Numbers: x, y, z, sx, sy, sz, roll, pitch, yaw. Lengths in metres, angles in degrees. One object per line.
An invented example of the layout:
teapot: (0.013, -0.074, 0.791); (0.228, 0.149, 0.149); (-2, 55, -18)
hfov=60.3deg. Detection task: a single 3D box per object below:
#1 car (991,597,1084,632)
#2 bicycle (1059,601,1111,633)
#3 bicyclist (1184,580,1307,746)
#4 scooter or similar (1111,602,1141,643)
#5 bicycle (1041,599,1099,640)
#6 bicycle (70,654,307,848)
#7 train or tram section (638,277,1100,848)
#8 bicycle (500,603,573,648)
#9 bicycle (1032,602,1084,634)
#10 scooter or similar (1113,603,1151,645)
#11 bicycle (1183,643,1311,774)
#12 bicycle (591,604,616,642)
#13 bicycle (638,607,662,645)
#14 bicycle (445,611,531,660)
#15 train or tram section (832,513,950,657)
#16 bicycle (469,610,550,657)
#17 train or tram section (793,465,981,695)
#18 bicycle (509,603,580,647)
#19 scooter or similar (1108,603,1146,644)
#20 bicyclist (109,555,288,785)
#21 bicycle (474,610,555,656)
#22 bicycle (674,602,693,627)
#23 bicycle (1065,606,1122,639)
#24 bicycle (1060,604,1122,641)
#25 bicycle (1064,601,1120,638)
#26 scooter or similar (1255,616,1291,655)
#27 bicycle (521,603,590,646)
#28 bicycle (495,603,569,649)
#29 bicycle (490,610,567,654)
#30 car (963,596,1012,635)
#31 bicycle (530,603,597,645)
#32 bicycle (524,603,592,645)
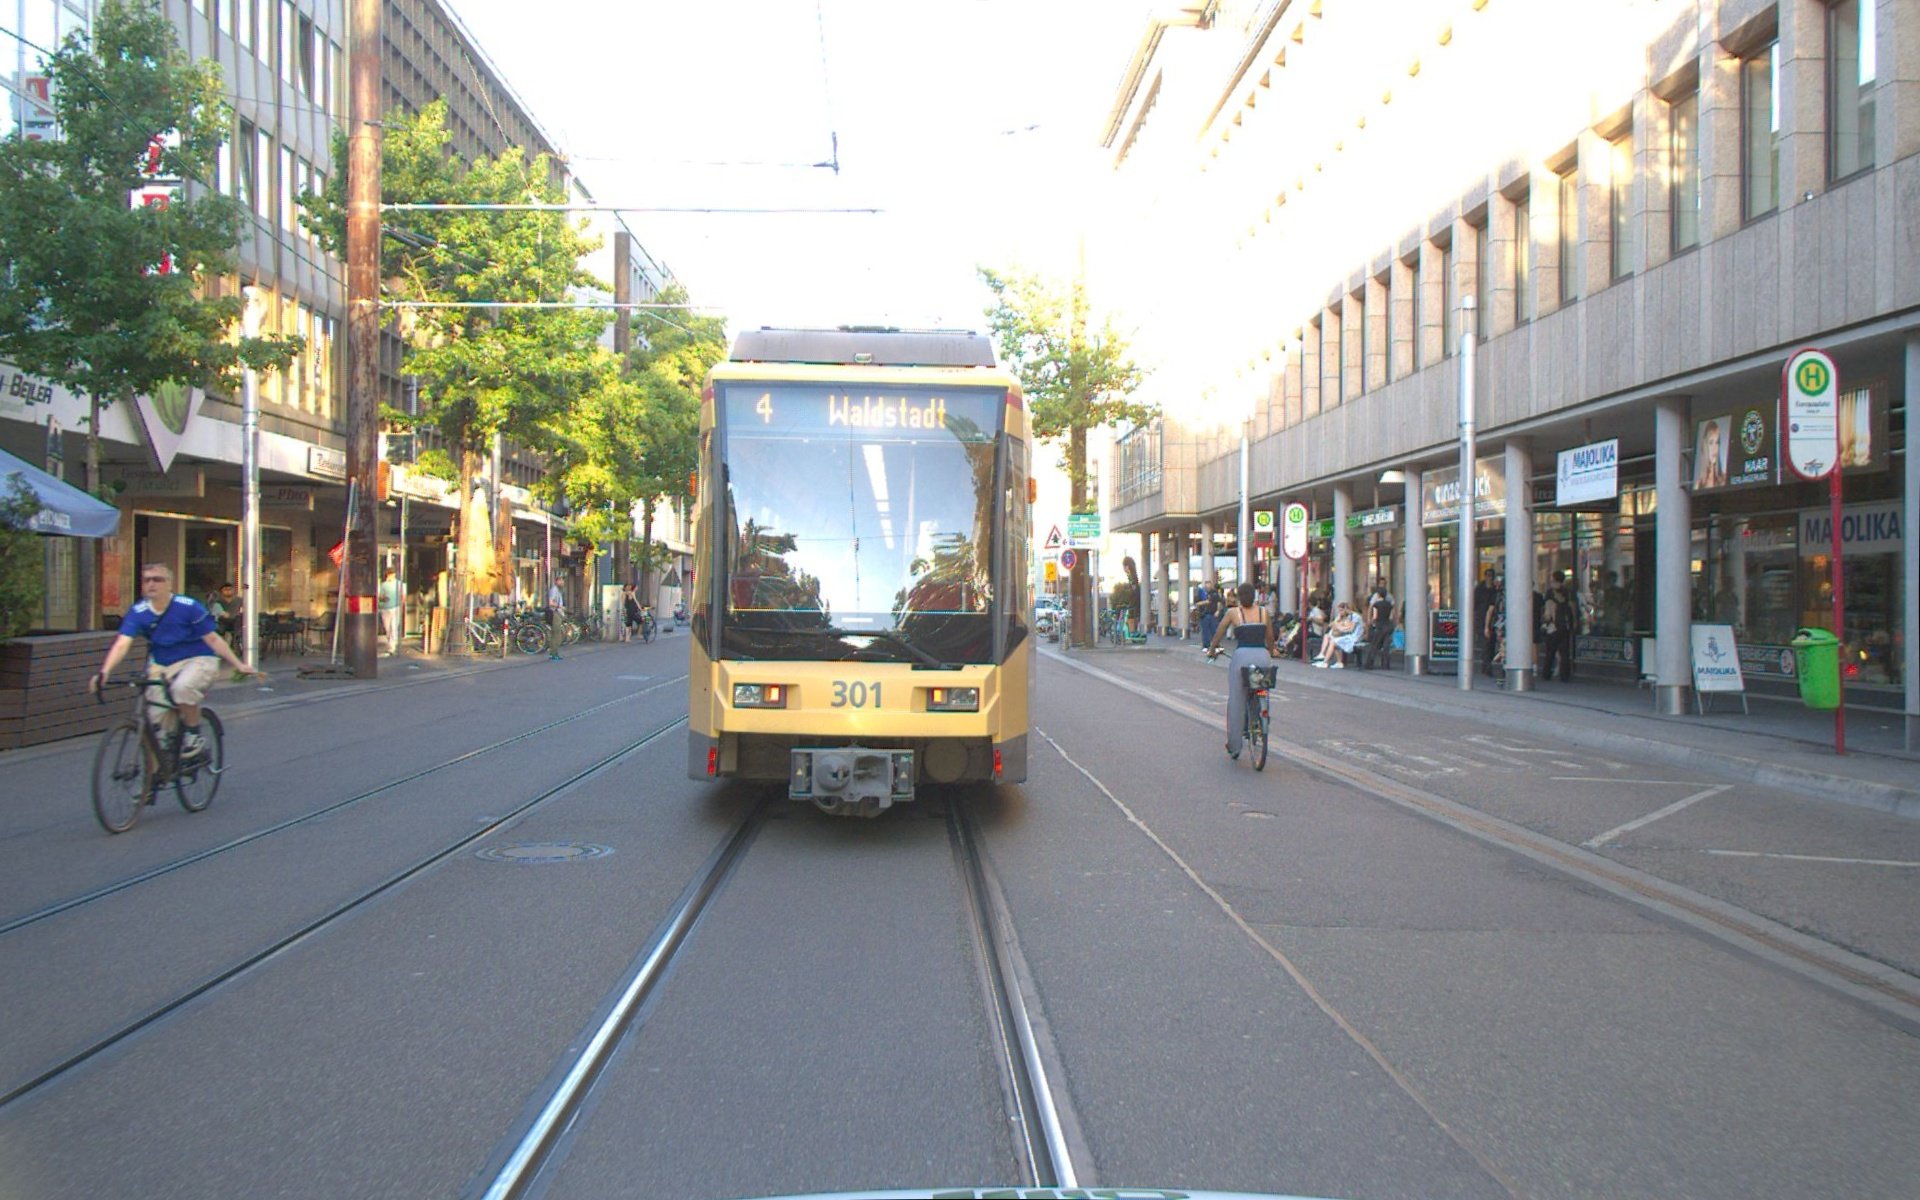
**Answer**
car: (3.374, 0.627, 71.520); (3.862, 1.434, 1.751); (1, -1, -39)
bicycle: (4.637, 0.619, 61.369); (1.816, 1.128, 0.666); (-1, 0, -5)
bicyclist: (2.726, 0.586, 15.888); (0.977, 1.528, 0.857); (2, 0, -1)
scooter or similar: (5.327, 0.714, 52.951); (0.385, 1.273, 1.187); (-1, 1, 36)
bicycle: (3.777, 0.667, 56.860); (1.878, 1.356, 0.724); (-2, 0, -7)
bicycle: (-5.044, 0.946, 10.961); (0.715, 1.092, 1.865); (2, 0, -2)
train or tram section: (-0.804, -0.254, 17.090); (2.744, 3.377, 14.502); (0, 0, -2)
bicycle: (-10.921, 0.659, 42.640); (1.738, 1.090, 0.489); (2, 0, -8)
bicycle: (3.626, 0.657, 61.053); (1.816, 1.128, 0.666); (-1, 0, -5)
scooter or similar: (5.377, 0.746, 51.563); (1.102, 1.273, 0.491); (-1, 1, -33)
bicycle: (2.720, 1.002, 15.902); (0.798, 1.092, 2.113); (2, 0, -1)
bicycle: (-10.502, 0.673, 48.713); (0.478, 1.063, 1.776); (1, 1, -5)
bicycle: (-9.167, 0.760, 48.951); (0.478, 1.063, 1.776); (1, 1, -5)
bicycle: (-10.218, 0.763, 35.806); (1.734, 0.982, 0.490); (2, -1, 15)
train or tram section: (-1.890, -0.393, 46.067); (2.744, 3.377, 14.502); (0, 0, -2)
bicycle: (-10.443, 0.772, 38.368); (1.738, 1.007, 0.489); (2, 1, -8)
train or tram section: (-1.343, -0.323, 31.559); (2.744, 3.377, 14.502); (0, 0, -2)
bicycle: (-11.009, 0.663, 43.878); (1.738, 1.090, 0.489); (2, 0, -8)
scooter or similar: (5.282, 0.733, 52.360); (1.176, 1.273, 0.389); (-1, 1, -32)
bicyclist: (-5.032, 0.445, 10.983); (0.743, 1.439, 0.897); (2, 0, -2)
bicycle: (-10.468, 0.774, 38.895); (1.738, 1.007, 0.489); (2, 1, -8)
bicycle: (-13.214, 0.707, 79.022); (0.488, 1.127, 1.801); (0, 1, 3)
bicycle: (4.764, 0.783, 58.898); (1.878, 1.096, 0.762); (-2, 0, -7)
bicycle: (4.419, 0.748, 55.983); (1.958, 1.175, 0.724); (-2, 0, -7)
bicycle: (4.743, 0.695, 59.644); (1.878, 1.244, 0.762); (-2, 0, -7)
scooter or similar: (7.522, 0.858, 39.754); (0.815, 0.899, 0.687); (2, 0, 12)
bicycle: (-11.015, 0.669, 45.099); (1.738, 1.090, 0.489); (2, 0, -8)
bicycle: (-10.883, 0.657, 42.064); (1.738, 1.090, 0.489); (2, 0, -8)
bicycle: (-10.505, 0.780, 40.306); (1.738, 1.007, 0.489); (2, 1, -8)
car: (1.024, 0.618, 63.219); (1.734, 1.434, 4.051); (1, -1, -1)
bicycle: (-11.097, 0.673, 46.294); (1.738, 1.090, 0.489); (2, 0, -8)
bicycle: (-11.086, 0.670, 45.641); (1.738, 1.090, 0.489); (2, 0, -8)
